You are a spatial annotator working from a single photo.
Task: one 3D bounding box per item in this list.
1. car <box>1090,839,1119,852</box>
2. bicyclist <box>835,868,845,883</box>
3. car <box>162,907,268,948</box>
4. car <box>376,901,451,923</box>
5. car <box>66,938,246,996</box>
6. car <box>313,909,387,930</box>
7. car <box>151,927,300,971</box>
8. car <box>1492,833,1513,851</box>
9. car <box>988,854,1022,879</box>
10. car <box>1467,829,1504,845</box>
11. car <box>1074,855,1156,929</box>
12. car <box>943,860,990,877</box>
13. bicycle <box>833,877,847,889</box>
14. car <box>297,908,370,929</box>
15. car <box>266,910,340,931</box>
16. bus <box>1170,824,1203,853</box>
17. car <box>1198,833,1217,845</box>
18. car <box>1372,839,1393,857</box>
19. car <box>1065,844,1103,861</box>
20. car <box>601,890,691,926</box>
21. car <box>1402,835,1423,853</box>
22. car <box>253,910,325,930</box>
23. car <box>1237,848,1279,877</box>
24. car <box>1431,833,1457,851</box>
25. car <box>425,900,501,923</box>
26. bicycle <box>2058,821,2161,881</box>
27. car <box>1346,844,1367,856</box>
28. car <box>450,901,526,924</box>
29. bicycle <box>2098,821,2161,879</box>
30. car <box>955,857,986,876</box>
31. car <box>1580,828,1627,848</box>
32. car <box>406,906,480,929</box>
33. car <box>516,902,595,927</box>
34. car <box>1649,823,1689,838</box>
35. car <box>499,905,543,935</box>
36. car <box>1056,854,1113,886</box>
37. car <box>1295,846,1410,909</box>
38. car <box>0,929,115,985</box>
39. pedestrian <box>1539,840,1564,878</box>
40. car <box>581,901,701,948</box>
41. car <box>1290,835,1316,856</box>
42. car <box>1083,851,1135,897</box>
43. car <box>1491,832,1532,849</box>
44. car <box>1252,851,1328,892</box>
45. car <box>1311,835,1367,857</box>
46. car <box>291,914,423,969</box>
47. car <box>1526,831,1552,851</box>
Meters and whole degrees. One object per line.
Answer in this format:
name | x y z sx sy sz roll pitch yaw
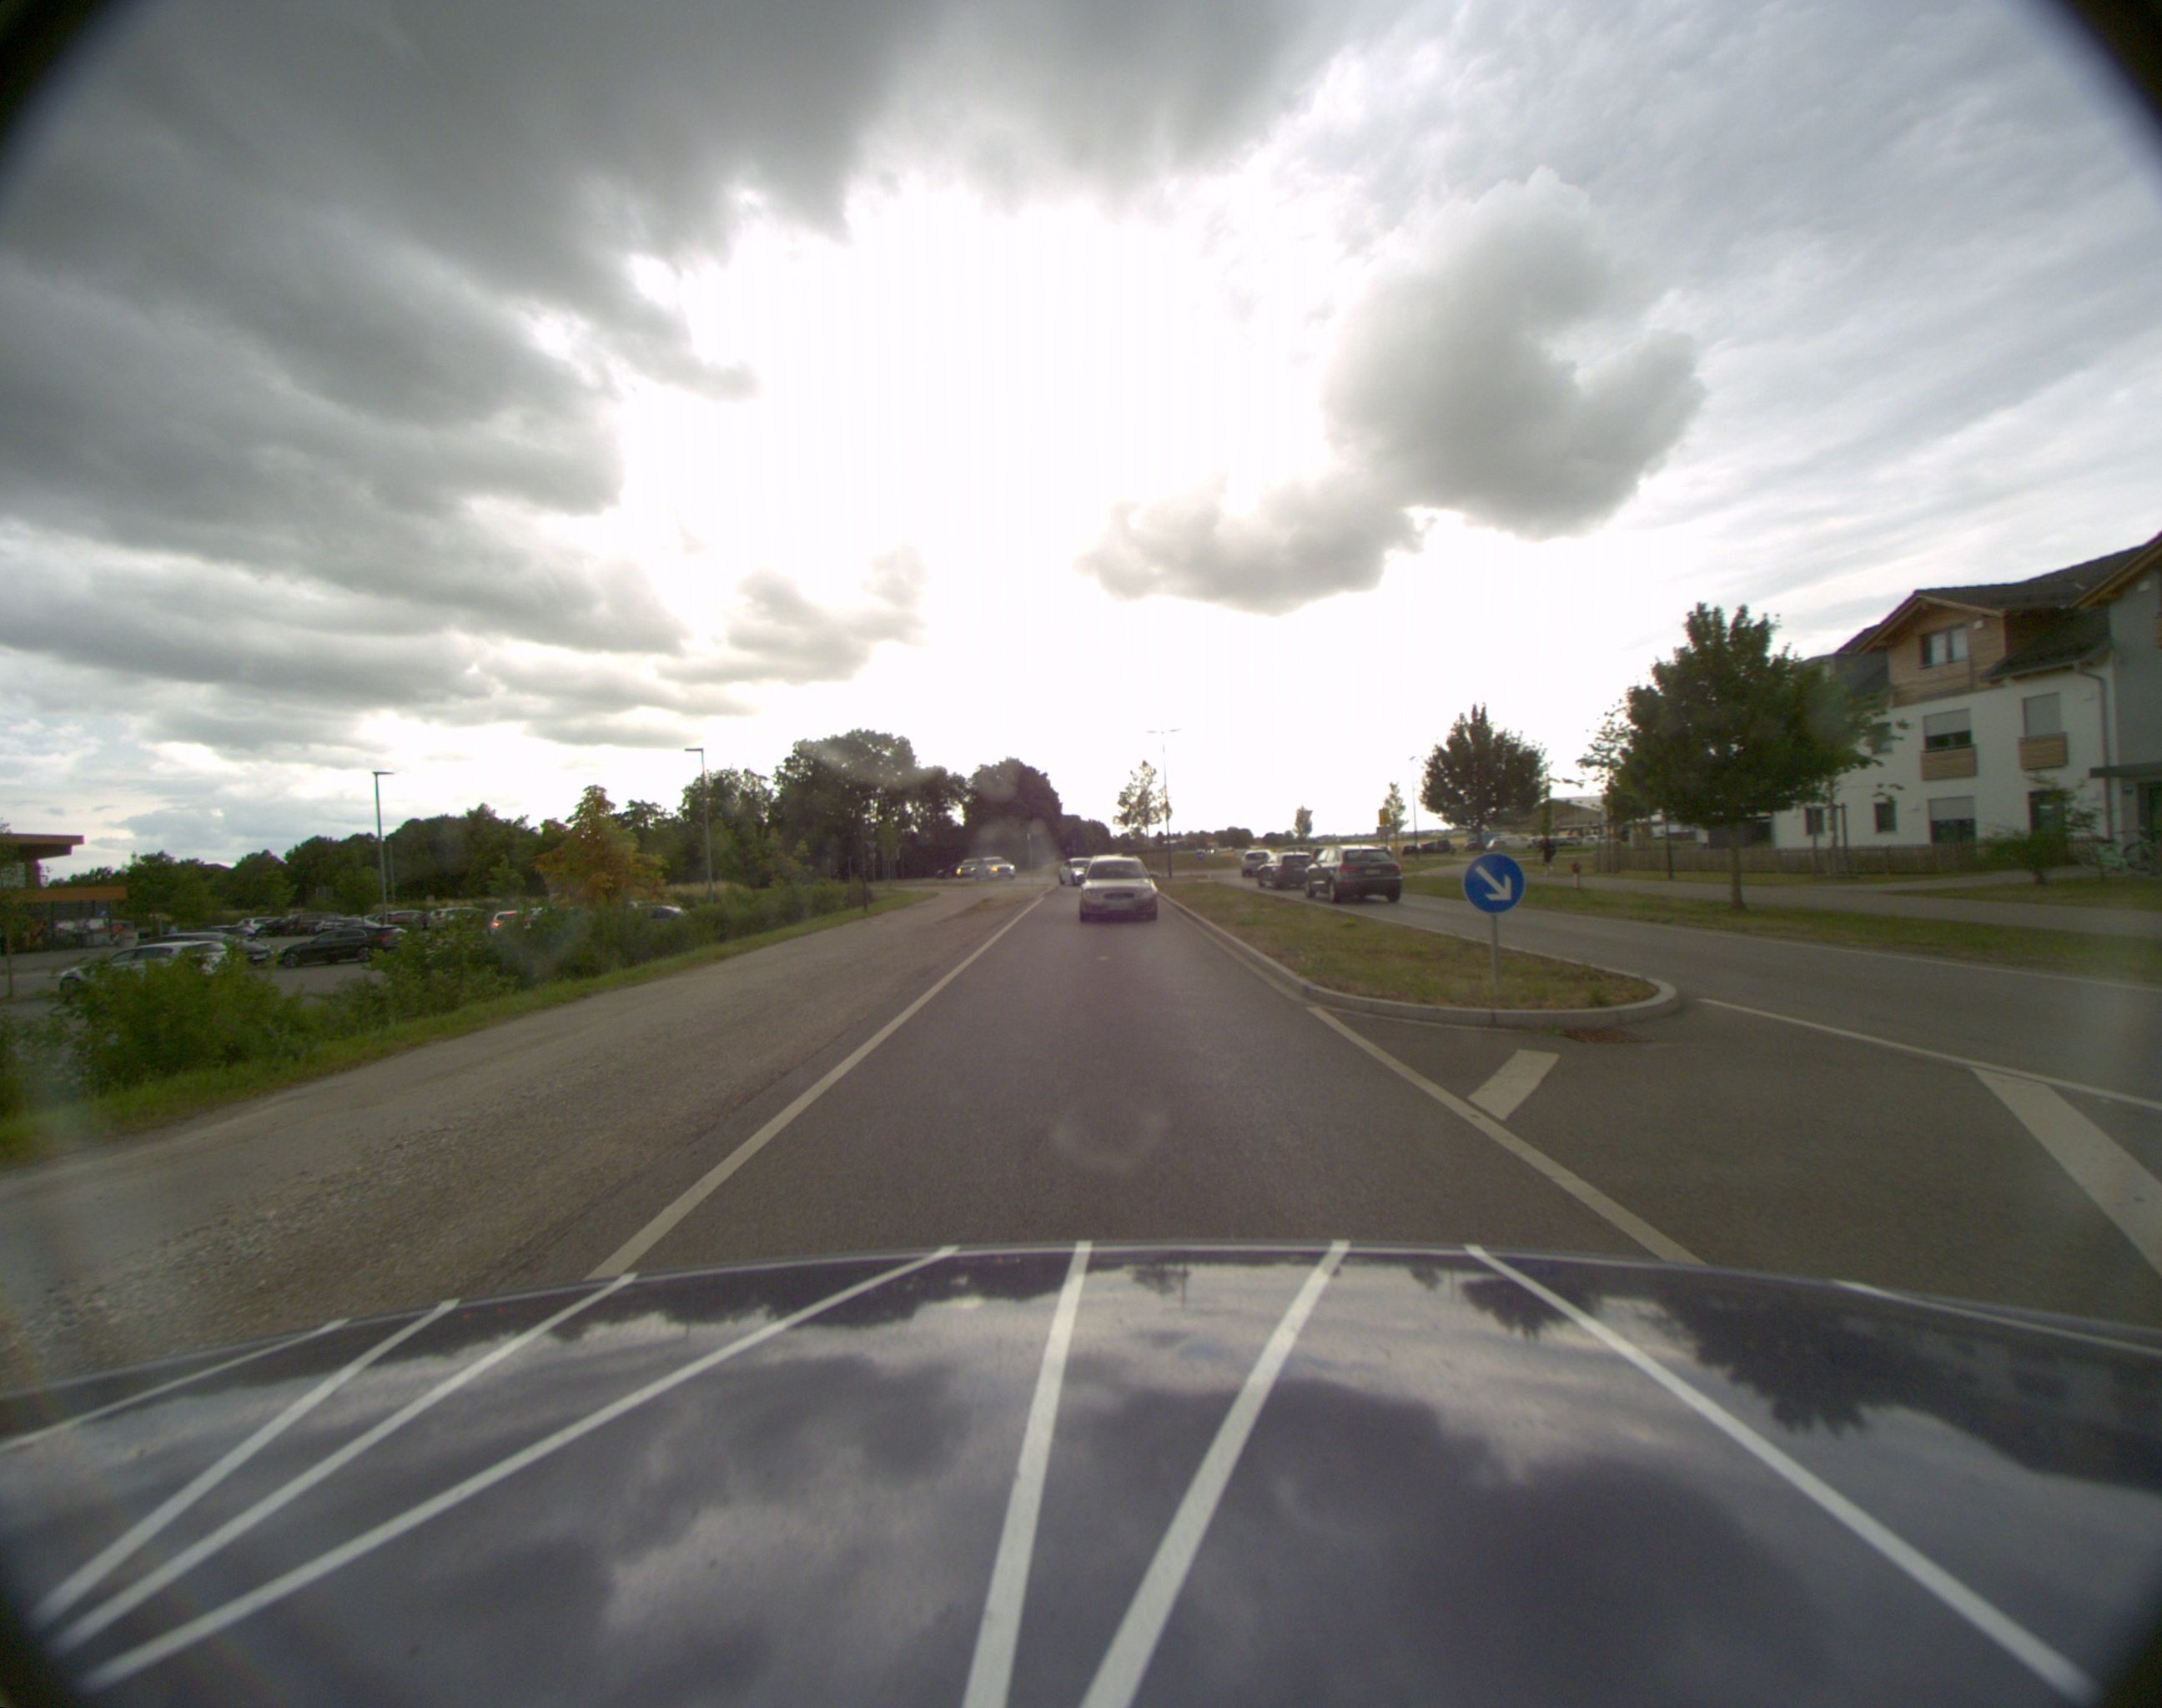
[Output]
car | 3.043 -1.121 98.252 1.994 1.674 4.008 -1 0 33
bicyclist | -20.803 1.870 65.610 0.657 1.236 0.556 -1 1 41
car | -48.072 4.060 42.214 3.994 2.002 2.001 -2 0 9
car | -51.900 4.458 59.156 1.697 1.352 4.007 -1 0 28
car | -29.555 3.590 24.366 3.558 1.524 1.753 -2 0 0
car | -59.828 5.353 62.230 1.697 1.352 4.007 -1 0 28
car | -35.187 3.884 31.322 4.127 1.476 2.001 -2 0 5
car | 47.227 -1.342 85.180 1.995 2.002 4.007 -1 0 29
car | -5.449 0.881 54.965 1.998 1.674 4.000 -2 0 1
car | 53.552 -2.218 100.576 4.001 2.002 1.998 -2 0 -11
car | 0.863 0.818 18.206 1.700 1.458 4.000 -2 1 4
car | -10.702 1.334 70.969 4.004 1.412 1.713 -2 0 -21
bicycle | -20.823 2.518 65.637 1.297 0.956 0.569 -1 0 41
car | -62.356 5.341 63.426 1.697 1.352 4.007 -1 0 28
car | -65.469 5.600 64.015 1.697 1.352 4.007 -1 0 28
bus | 12.671 -1.850 91.945 2.991 3.261 6.484 -2 0 0
car | 16.099 -1.906 96.697 1.774 1.435 4.000 -2 0 1
car | 35.218 -0.741 88.741 1.995 2.002 4.007 -1 0 26
car | 0.406 -0.221 86.554 1.994 1.794 4.781 -1 0 33
car | -25.309 3.098 44.315 1.697 1.707 4.250 -1 0 28
car | 38.012 -1.172 87.017 1.995 2.002 4.007 -1 0 26
car | -68.660 5.696 65.930 1.697 1.352 4.007 -1 0 28
car | 9.999 0.457 43.169 1.829 1.480 4.218 -2 0 7
car | 40.709 -1.325 85.306 1.996 2.002 4.005 -1 0 16
car | -46.355 4.304 57.083 1.697 1.352 4.007 -1 0 28
bicycle | 25.690 -0.073 18.535 0.684 1.404 2.344 -2 0 1
car | 32.547 -0.470 89.733 1.995 1.280 4.007 -2 0 26
car | -43.217 4.257 55.451 1.697 1.352 4.007 -1 0 28
bicycle | 26.549 -0.108 18.528 0.684 1.409 2.094 -2 0 1
car | -9.470 1.035 65.508 1.998 1.510 3.771 -2 0 1
car | 57.163 -1.749 83.158 4.001 2.002 1.998 -2 0 -11
car | -49.145 4.860 58.624 1.697 1.352 4.007 -1 0 28
car | -35.303 4.057 51.152 1.697 1.352 4.007 -1 0 28
car | 82.765 -3.333 106.988 4.568 2.002 1.998 -2 0 -11
car | -31.535 3.656 42.833 1.848 1.352 3.990 -2 0 -36
car | 0.112 0.853 41.391 1.872 1.533 4.193 -4 1 -17
car | 7.663 0.610 21.901 1.830 1.573 4.216 -2 0 1
car | -40.858 3.984 29.564 4.269 1.860 2.001 -2 0 5
pedestrian | 19.519 0.190 31.530 0.547 1.521 0.586 -4 1 1
car | -18.225 2.904 31.586 3.997 1.696 1.657 -2 0 0
car | 20.176 -0.812 69.264 1.828 1.712 4.402 -2 1 11
car | 1.203 0.757 31.203 1.869 1.578 5.063 -3 1 3
car | 52.727 -1.626 93.107 4.000 2.002 1.999 -2 0 -8
car | 8.159 0.647 30.066 1.830 1.480 4.350 -2 0 1
car | 19.089 -0.593 56.140 4.345 1.480 1.827 -2 0 -37
car | -28.878 3.465 30.401 3.390 1.696 1.802 -5 0 0
car | 50.002 -1.418 83.044 2.227 2.002 4.007 -1 0 29
